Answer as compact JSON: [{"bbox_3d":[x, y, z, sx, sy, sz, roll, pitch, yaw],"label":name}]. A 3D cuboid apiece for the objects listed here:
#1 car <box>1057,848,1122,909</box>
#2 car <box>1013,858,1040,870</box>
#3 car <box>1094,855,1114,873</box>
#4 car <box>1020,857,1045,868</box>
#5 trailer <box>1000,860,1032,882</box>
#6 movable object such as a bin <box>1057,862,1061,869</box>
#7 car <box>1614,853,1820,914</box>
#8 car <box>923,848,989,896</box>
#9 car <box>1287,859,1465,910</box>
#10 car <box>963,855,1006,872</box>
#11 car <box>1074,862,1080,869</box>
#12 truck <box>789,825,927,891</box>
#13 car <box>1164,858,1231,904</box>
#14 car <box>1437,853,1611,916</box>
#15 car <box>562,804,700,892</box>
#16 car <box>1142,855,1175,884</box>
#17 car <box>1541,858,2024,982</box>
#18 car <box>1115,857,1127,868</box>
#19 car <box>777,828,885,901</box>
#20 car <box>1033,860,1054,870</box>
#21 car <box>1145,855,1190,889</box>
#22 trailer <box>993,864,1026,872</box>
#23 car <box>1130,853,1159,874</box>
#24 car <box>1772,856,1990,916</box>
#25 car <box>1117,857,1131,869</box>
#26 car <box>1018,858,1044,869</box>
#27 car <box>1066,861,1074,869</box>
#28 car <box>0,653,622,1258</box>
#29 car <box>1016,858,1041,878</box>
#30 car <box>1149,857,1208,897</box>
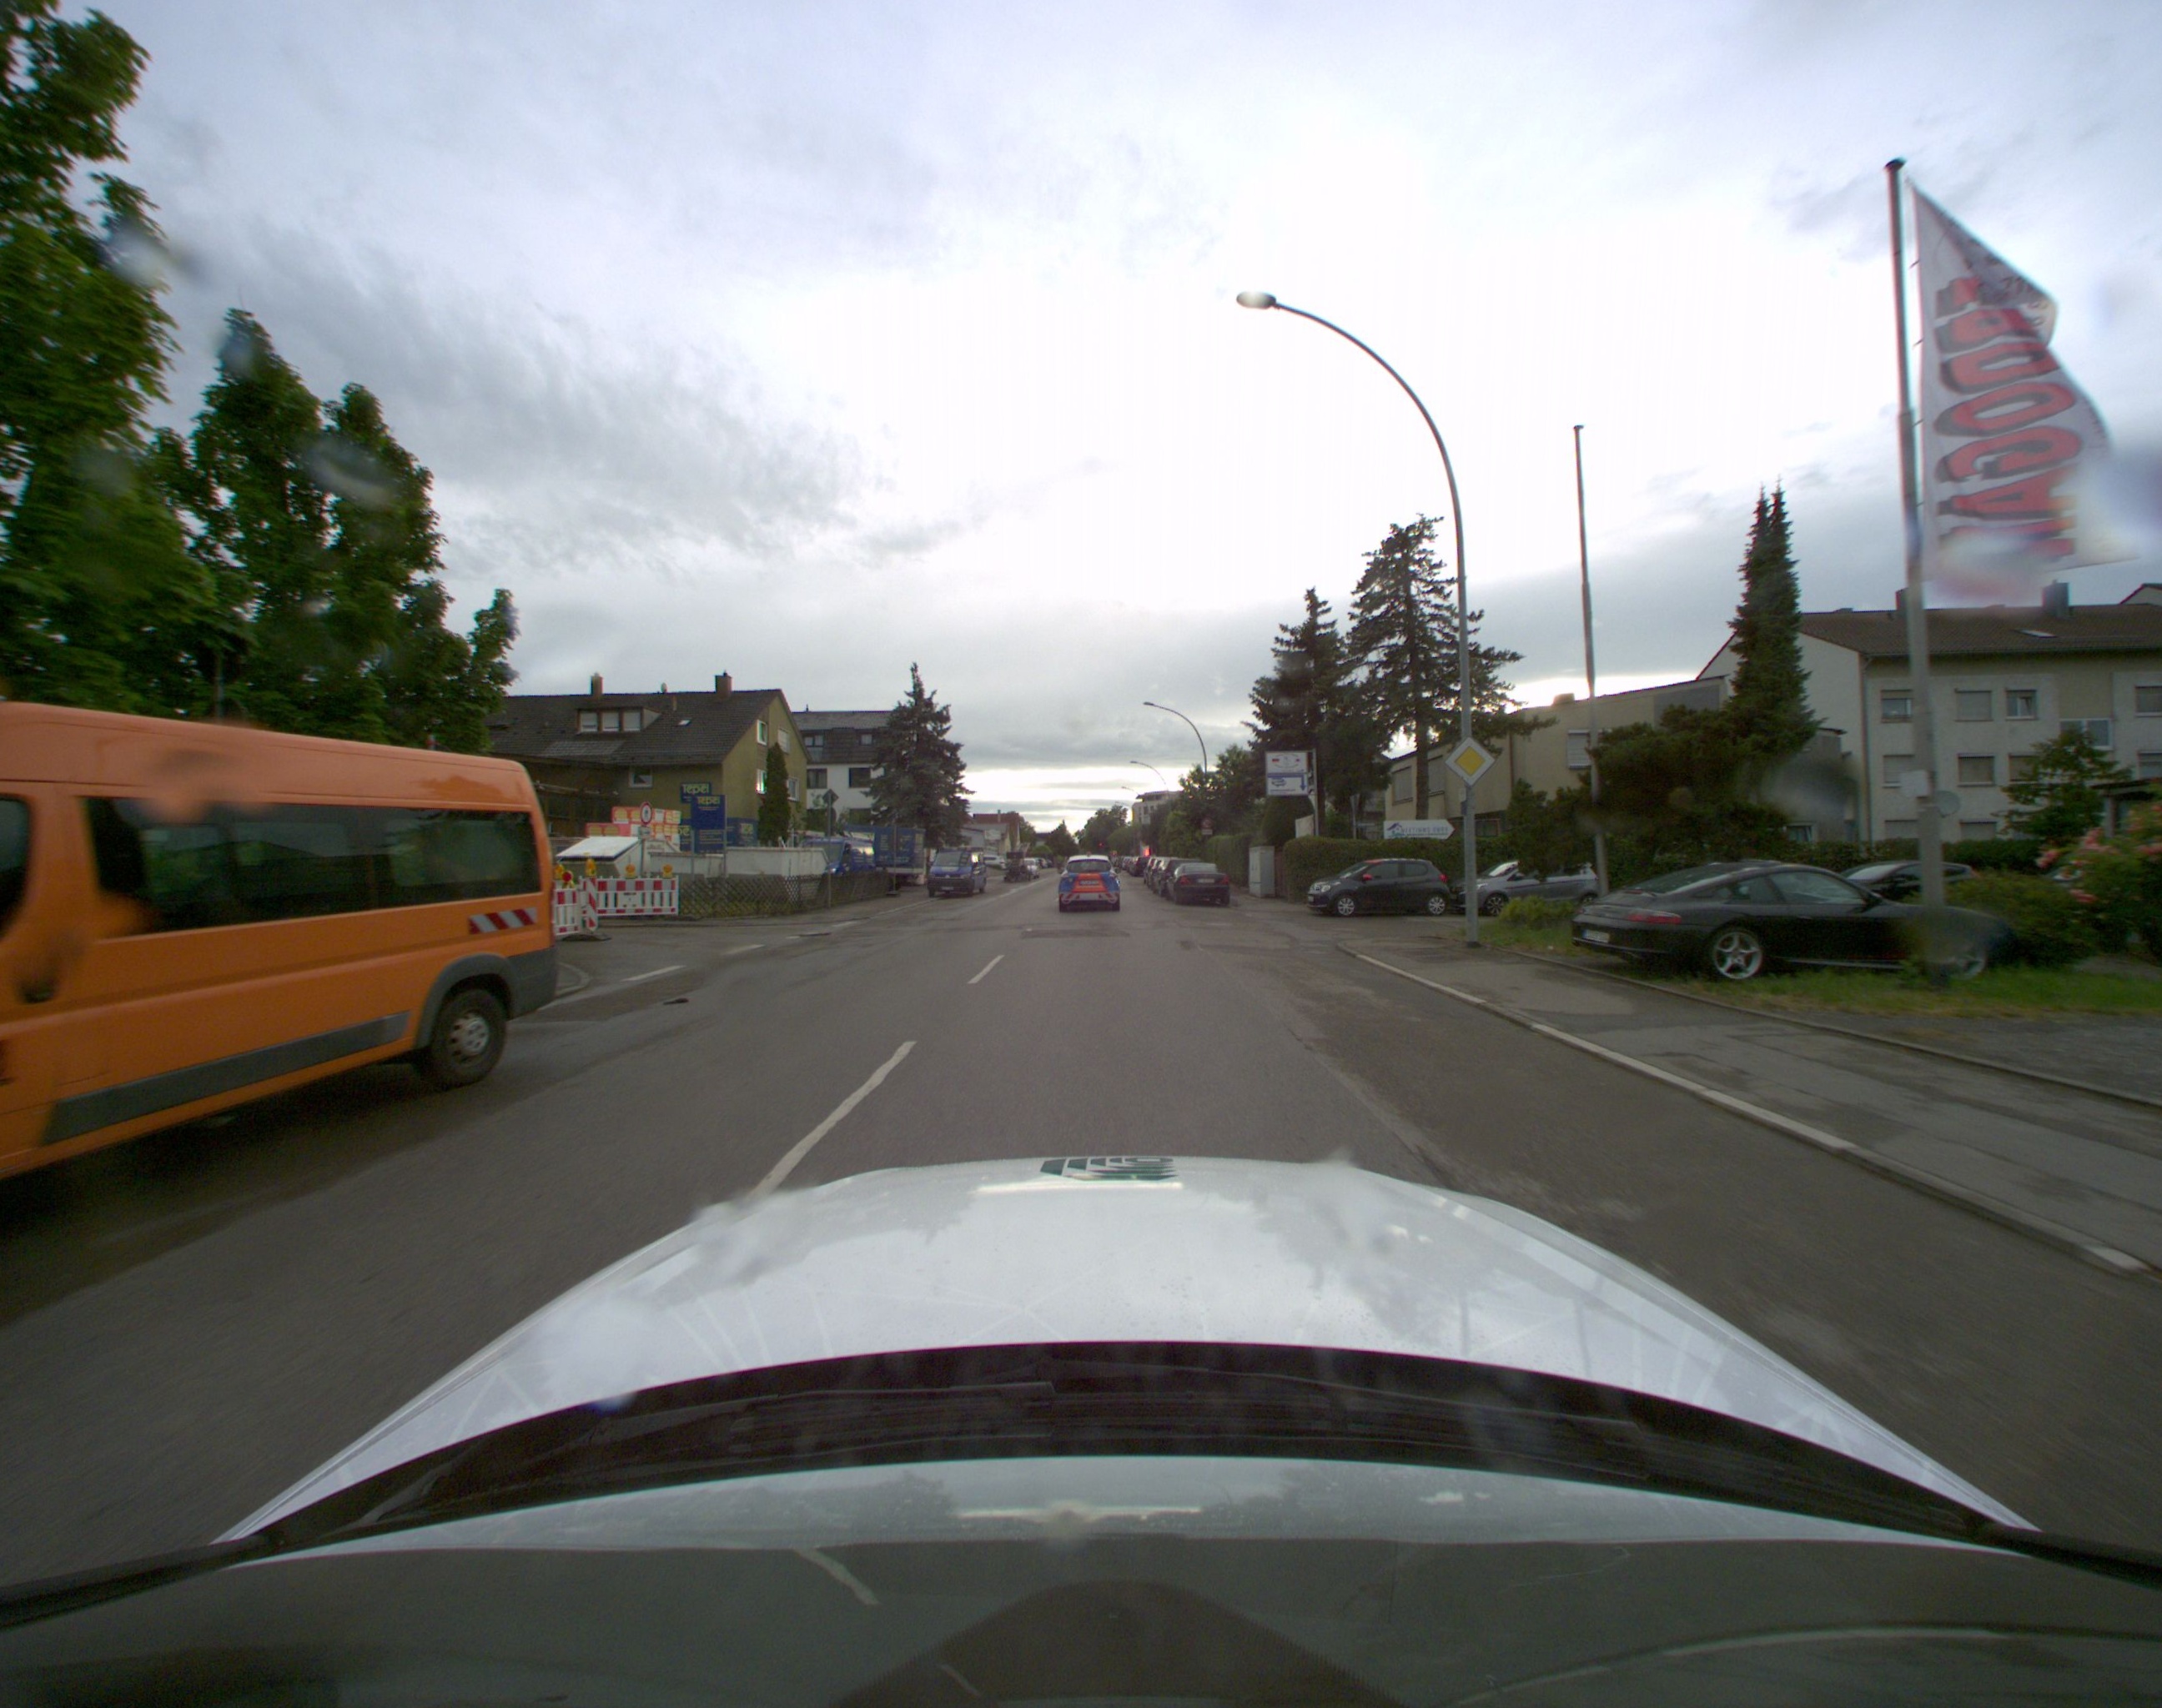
[{"bbox_3d":[0.255,0.684,23.813,1.725,1.631,3.495,-1,-1,1],"label":"car"},{"bbox_3d":[-7.627,1.382,114.692,3.751,1.576,1.653,0,-1,-3],"label":"car"},{"bbox_3d":[2.021,0.869,72.732,1.645,1.522,3.999,0,-1,0],"label":"car"},{"bbox_3d":[-7.336,1.272,122.769,3.645,1.483,1.478,-2,0,-3],"label":"car"},{"bbox_3d":[-4.231,1.091,53.878,1.712,1.260,5.243,0,1,0],"label":"trailer"},{"bbox_3d":[-3.357,1.765,124.915,0.577,1.204,0.319,0,-1,1],"label":"movable object such as a bin"},{"bbox_3d":[16.547,0.757,21.347,3.931,1.508,1.943,0,-1,-1],"label":"car"},{"bbox_3d":[-5.438,0.737,36.114,1.986,1.947,5.366,-1,0,1],"label":"car"},{"bbox_3d":[7.623,0.775,21.324,3.974,1.266,1.950,0,-1,-1],"label":"car"},{"bbox_3d":[-8.810,0.875,74.810,3.747,1.568,1.655,0,-1,0],"label":"car"},{"bbox_3d":[-0.712,2.185,158.104,1.147,1.232,3.371,-1,0,0],"label":"car"},{"bbox_3d":[-10.641,0.201,39.300,5.889,3.073,2.450,0,-1,2],"label":"truck"},{"bbox_3d":[3.758,0.834,26.815,1.584,1.341,4.092,2,0,0],"label":"car"},{"bbox_3d":[11.555,0.780,21.425,3.603,1.538,1.859,0,-1,0],"label":"car"},{"bbox_3d":[-16.687,-0.171,30.586,2.067,3.013,5.245,0,-1,2],"label":"car"},{"bbox_3d":[4.069,0.799,43.074,1.481,1.439,3.808,0,0,1],"label":"car"},{"bbox_3d":[7.950,0.702,9.598,3.970,1.266,1.952,0,-1,3],"label":"car"},{"bbox_3d":[6.344,1.395,129.028,1.645,1.672,3.999,0,-1,0],"label":"car"},{"bbox_3d":[-9.660,0.413,32.131,2.067,2.567,6.204,0,-1,2],"label":"car"},{"bbox_3d":[-6.025,1.807,130.941,3.274,1.448,1.478,-2,0,-3],"label":"car"},{"bbox_3d":[3.827,0.761,36.449,1.651,1.449,3.830,0,0,1],"label":"car"},{"bbox_3d":[-8.908,1.717,101.649,4.009,0.995,1.655,0,-1,0],"label":"trailer"},{"bbox_3d":[4.527,0.708,58.636,1.706,1.438,4.524,0,-1,-1],"label":"car"},{"bbox_3d":[20.875,0.807,21.387,3.822,1.475,1.999,0,-1,0],"label":"car"},{"bbox_3d":[5.696,1.200,107.258,1.645,1.522,3.999,0,-1,0],"label":"car"},{"bbox_3d":[-7.272,1.405,119.051,3.751,1.483,1.653,0,-1,-3],"label":"car"},{"bbox_3d":[-1.843,1.880,139.814,1.382,1.483,3.783,-1,0,0],"label":"car"},{"bbox_3d":[-5.565,0.453,4.793,2.117,2.537,6.024,-2,0,1],"label":"car"},{"bbox_3d":[-3.918,1.048,61.425,1.551,1.433,4.001,0,-1,2],"label":"car"},{"bbox_3d":[3.676,0.841,31.503,1.652,1.419,4.775,0,-1,-1],"label":"car"}]
